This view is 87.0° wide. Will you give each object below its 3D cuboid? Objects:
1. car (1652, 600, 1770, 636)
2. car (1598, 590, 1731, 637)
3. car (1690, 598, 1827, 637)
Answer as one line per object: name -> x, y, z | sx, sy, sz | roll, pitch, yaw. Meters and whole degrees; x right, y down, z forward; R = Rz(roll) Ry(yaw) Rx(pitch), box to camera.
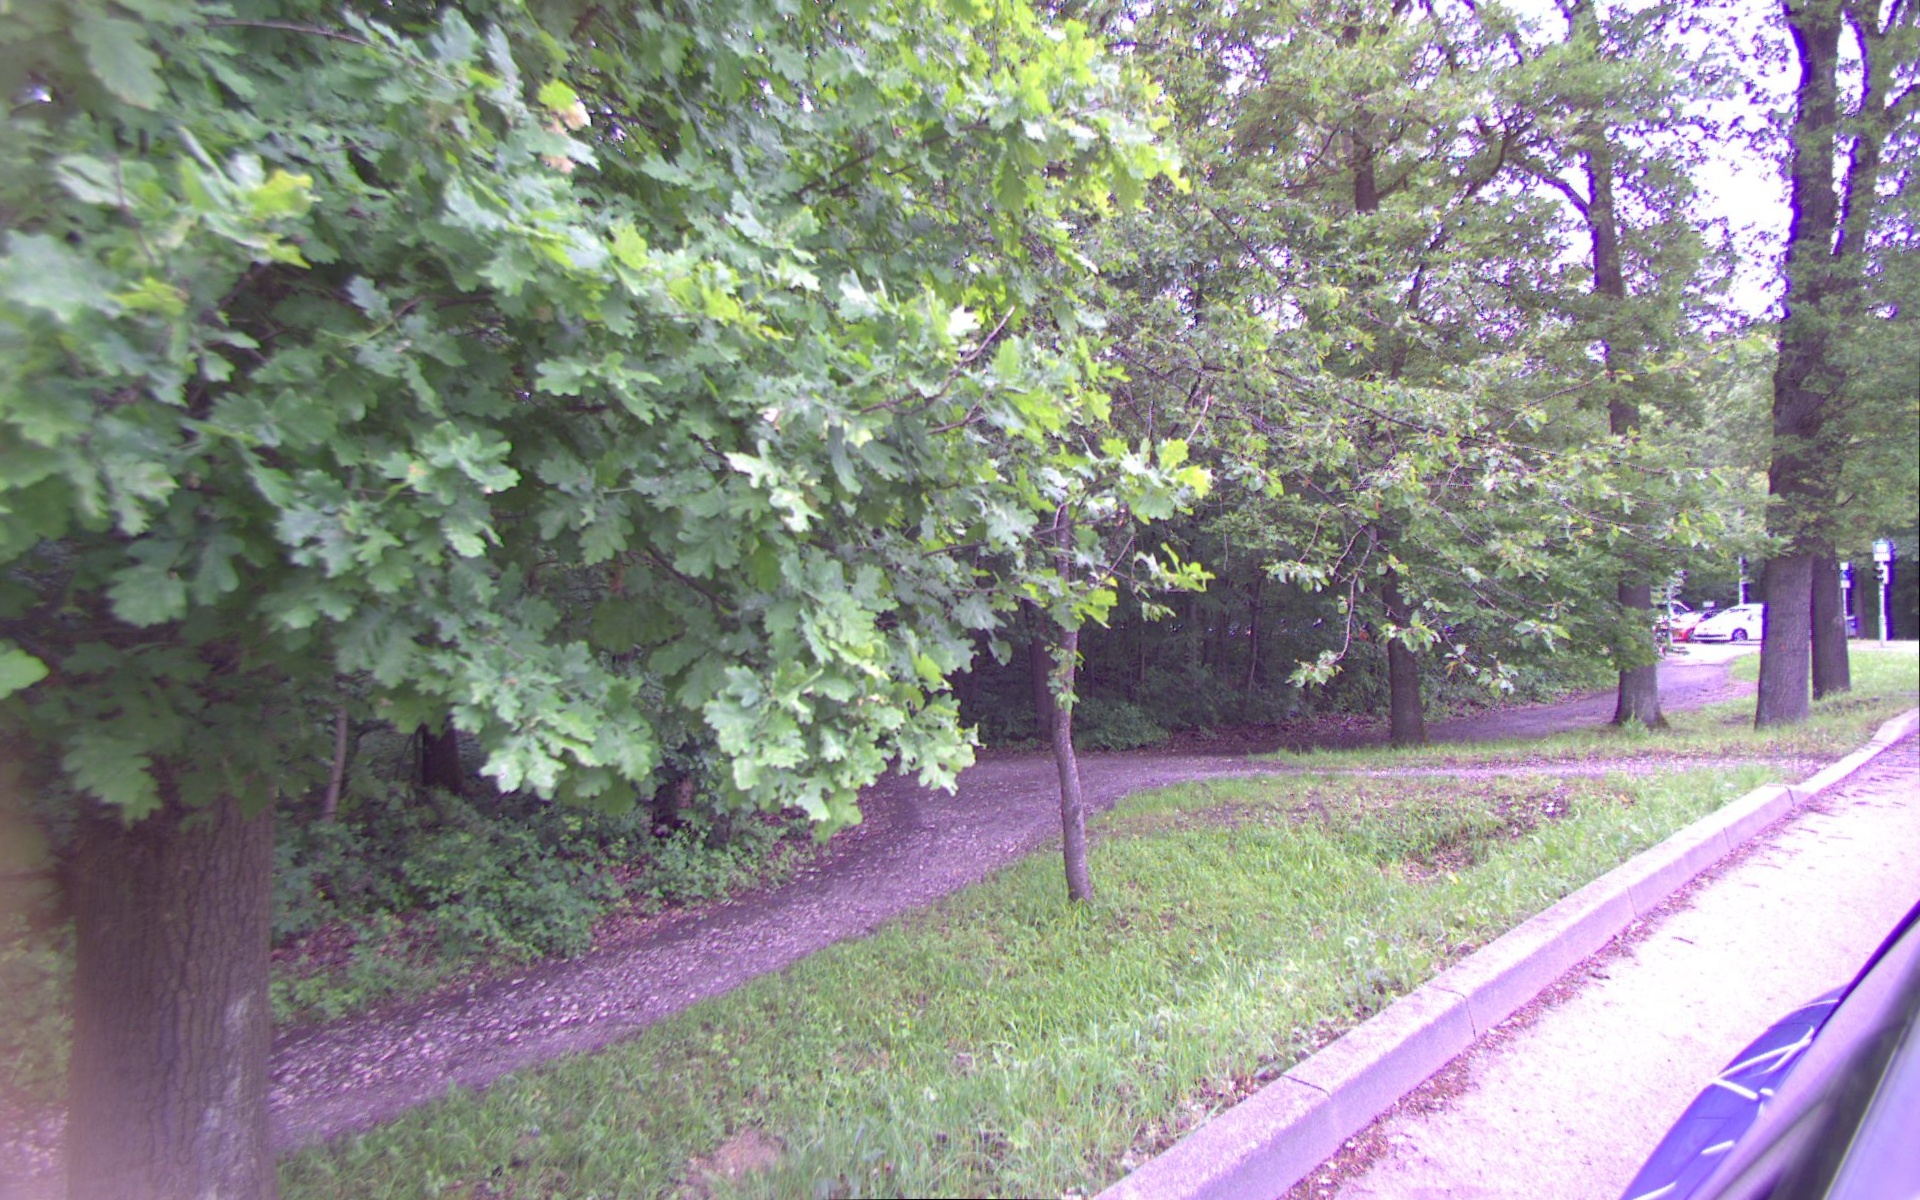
car -> 33.686, 0.813, 45.451 | 3.920, 1.572, 1.896 | -1, -2, -6
car -> 33.464, 0.649, 48.149 | 5.077, 1.982, 2.065 | -2, -2, -10
car -> 33.877, 0.756, 43.012 | 4.332, 1.572, 2.001 | -1, -2, -6
